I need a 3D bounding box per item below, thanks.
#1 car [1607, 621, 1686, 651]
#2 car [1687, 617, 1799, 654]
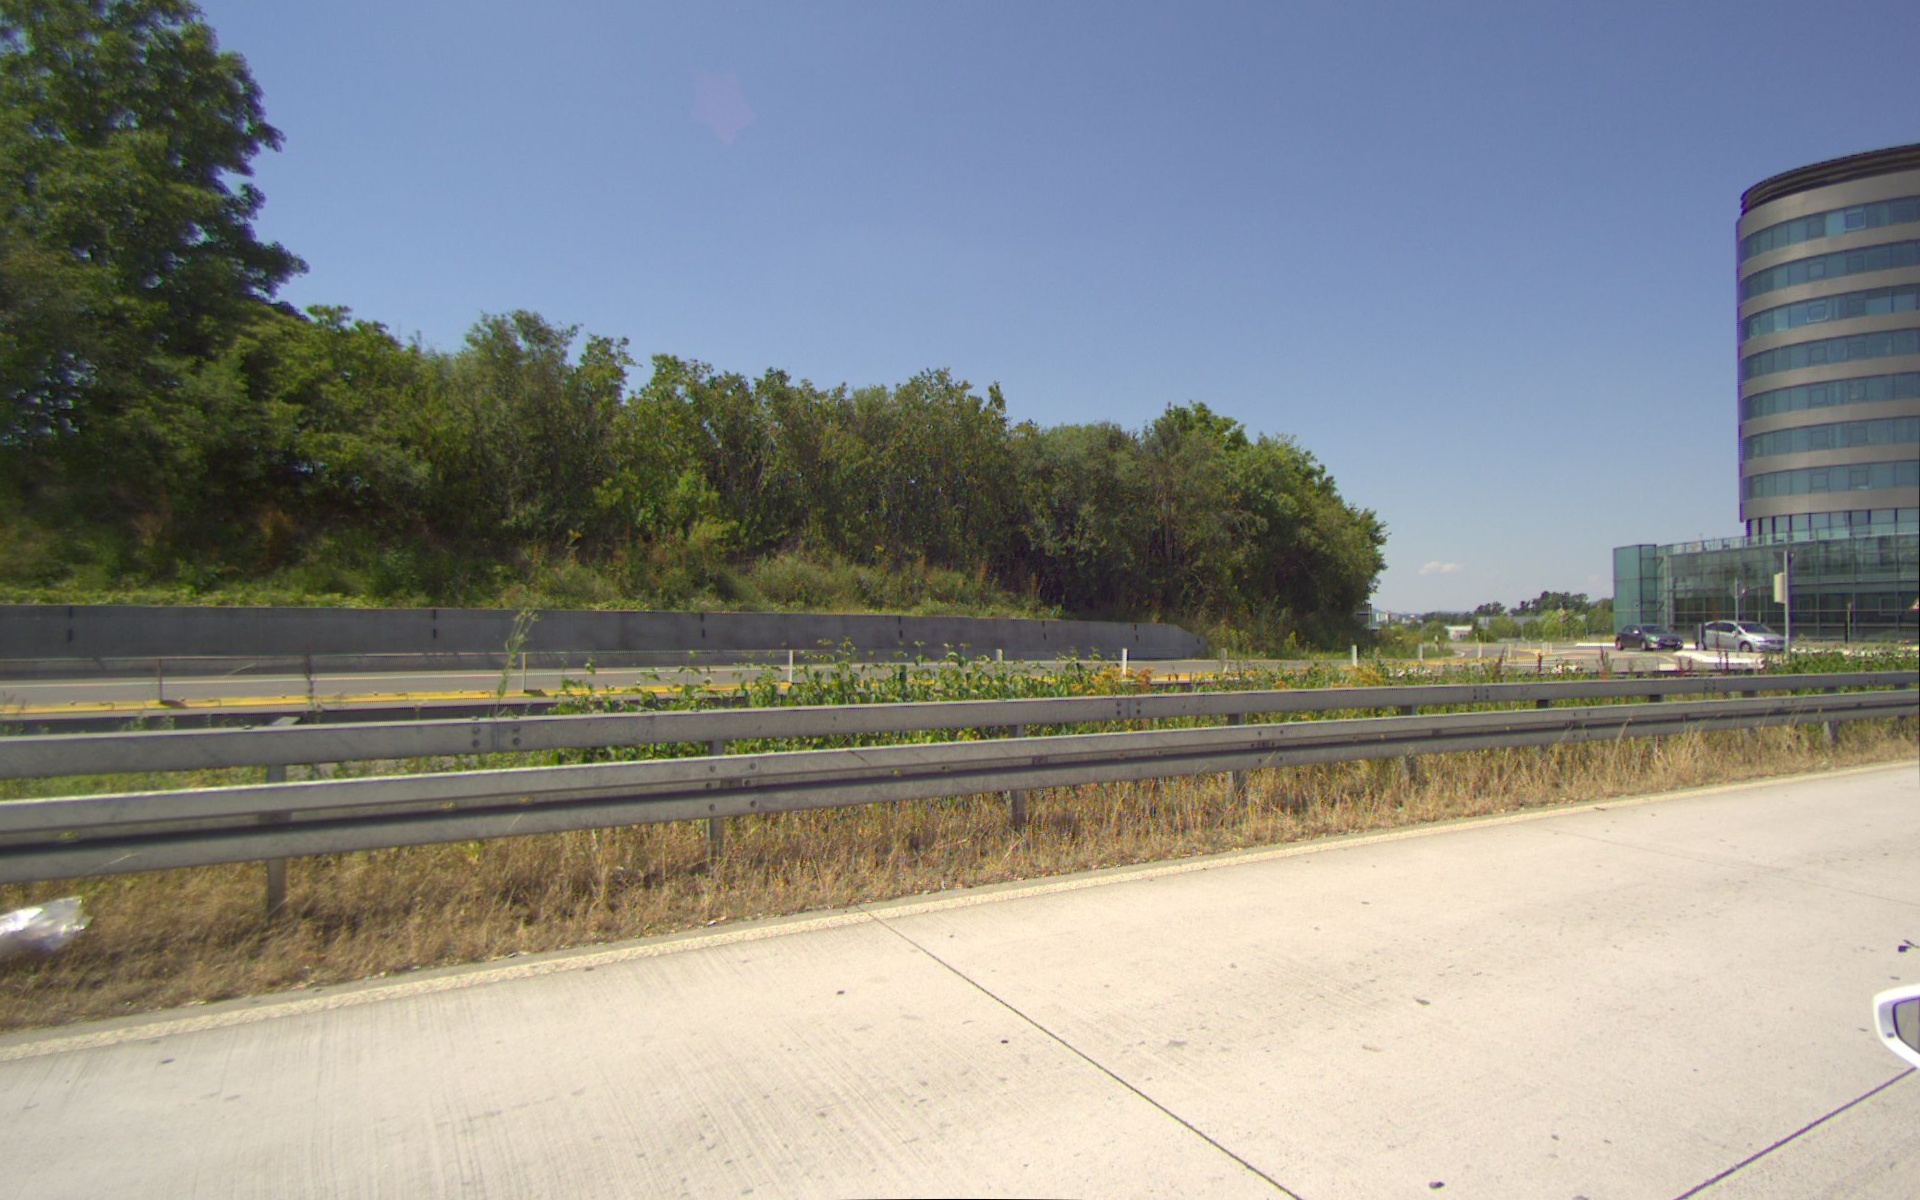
[{"bbox_3d":[37.255,1.975,54.618,1.663,1.475,4.333,2,-2,6],"label":"car"},{"bbox_3d":[36.509,1.674,46.982,1.742,1.616,4.329,2,-2,-2],"label":"car"}]
